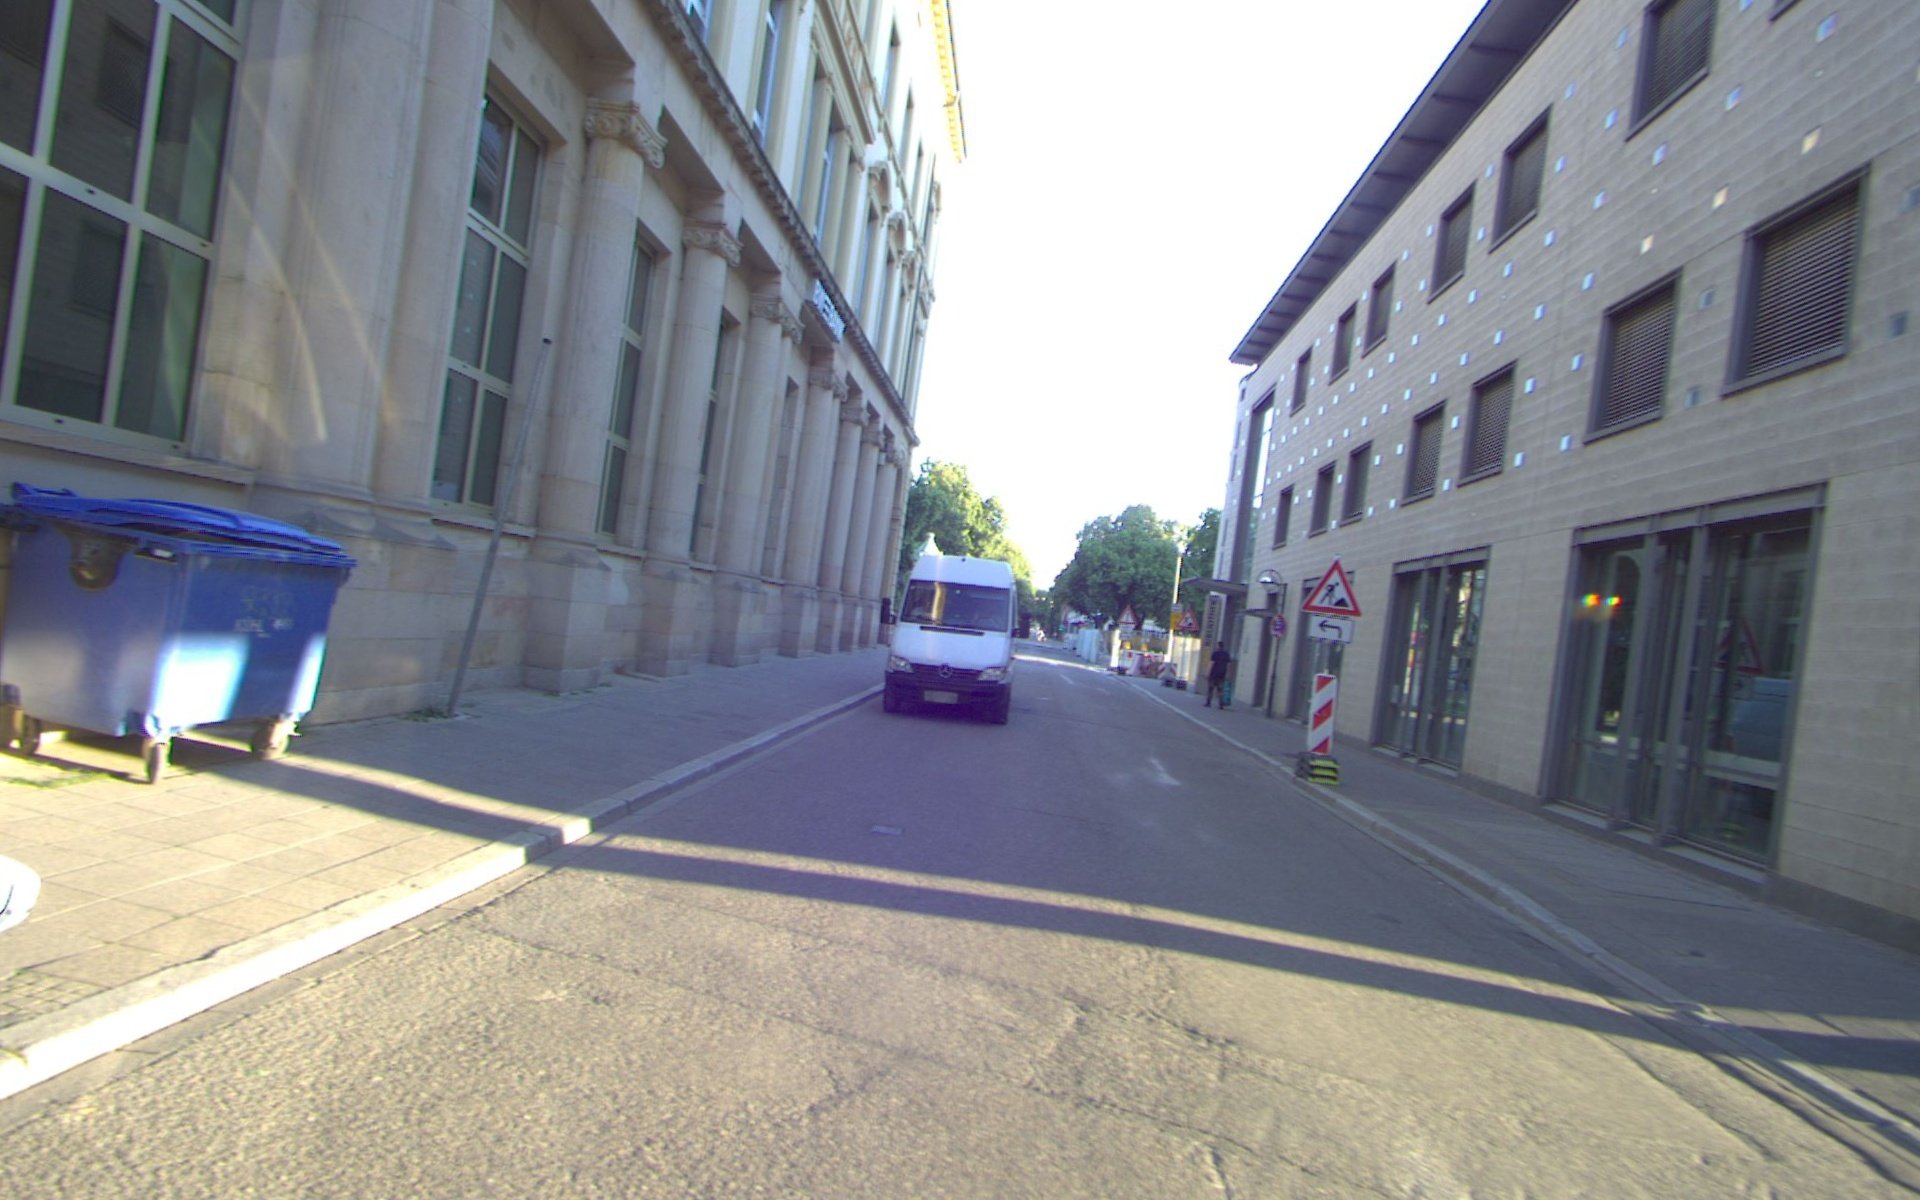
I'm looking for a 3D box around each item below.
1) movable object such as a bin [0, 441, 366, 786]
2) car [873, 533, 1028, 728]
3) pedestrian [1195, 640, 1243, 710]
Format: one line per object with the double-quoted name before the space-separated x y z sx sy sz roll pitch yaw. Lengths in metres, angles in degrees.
"movable object such as a bin" -4.189 0.071 5.379 1.057 1.492 1.188 9 0 8
"car" 0.003 0.480 17.127 1.964 2.543 6.471 4 -1 2
"pedestrian" 6.929 1.995 26.924 0.908 1.723 0.869 7 0 4
